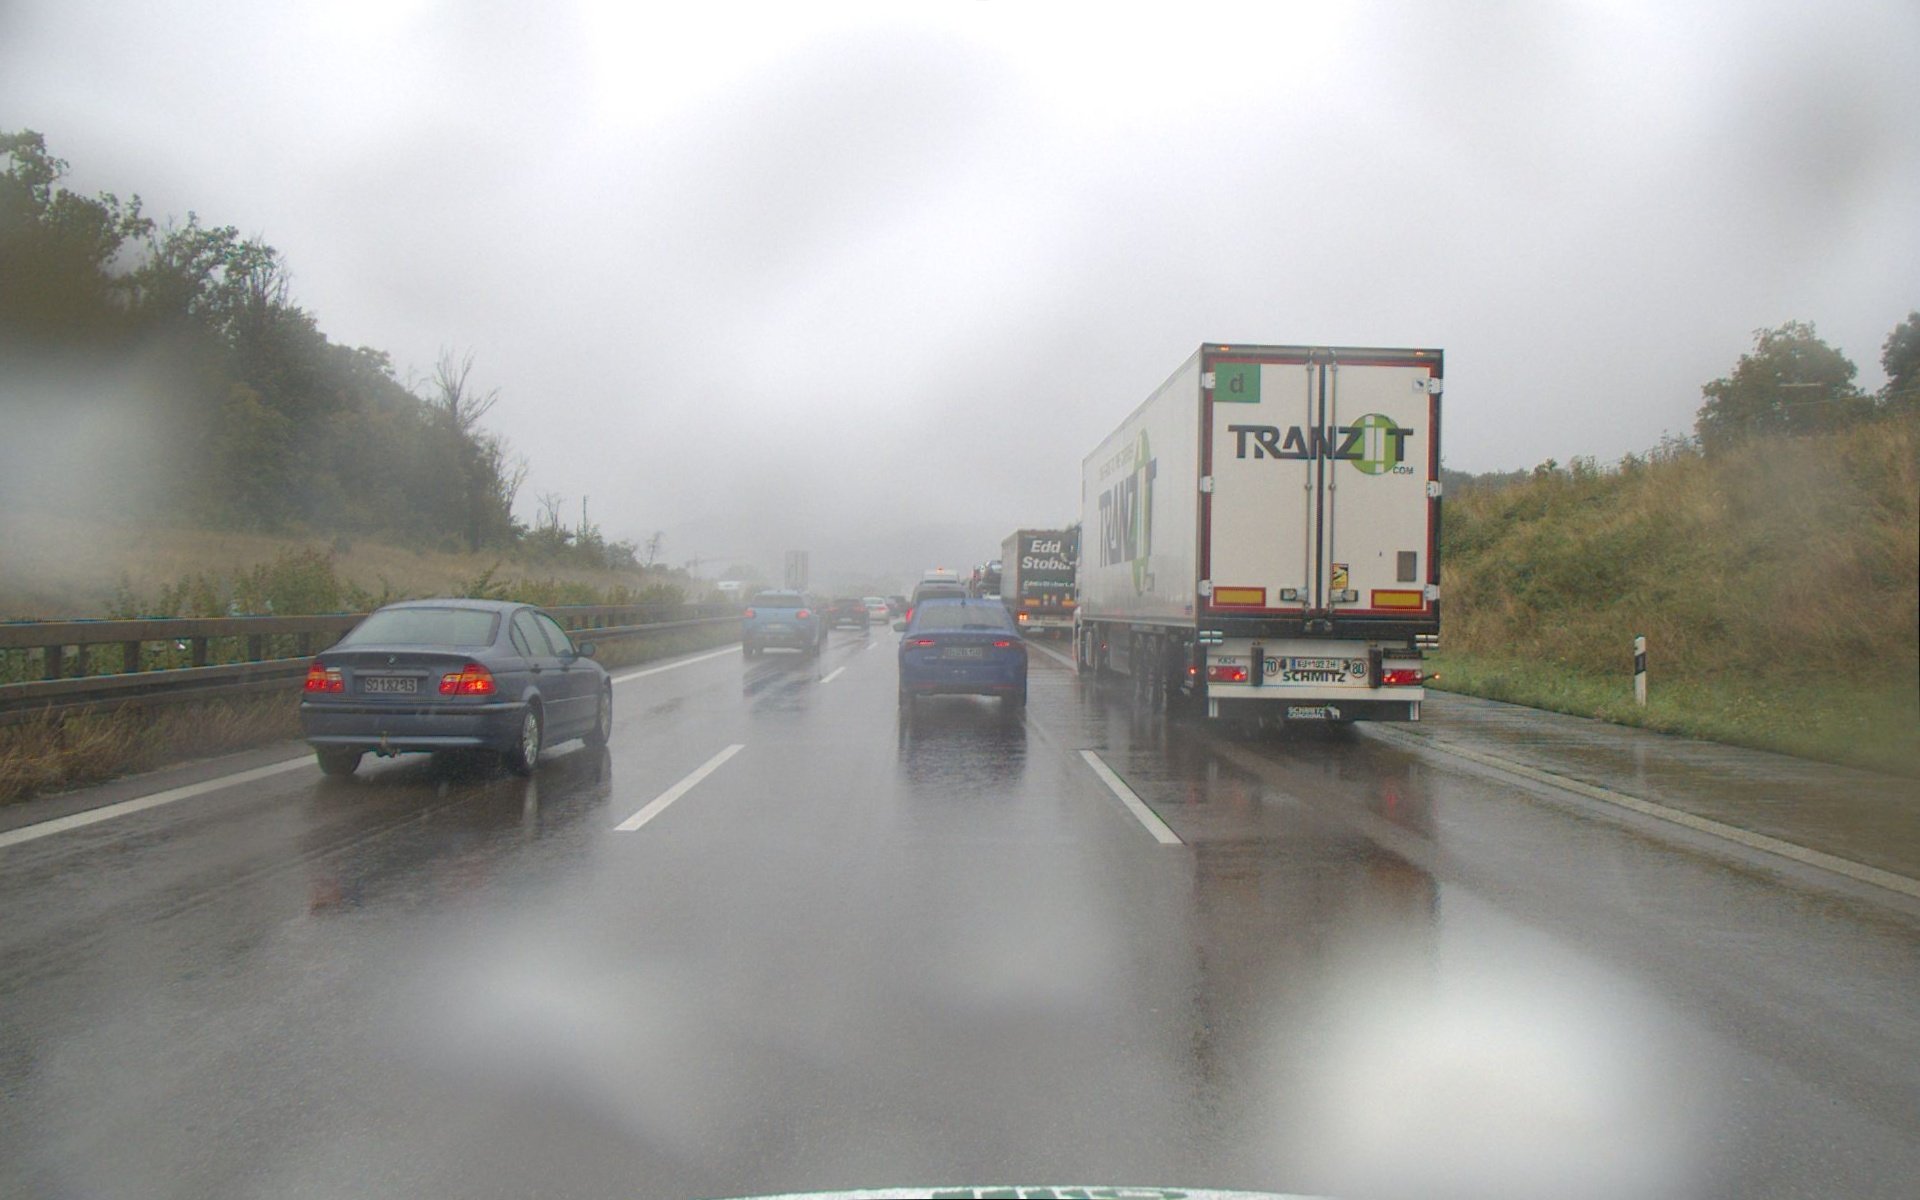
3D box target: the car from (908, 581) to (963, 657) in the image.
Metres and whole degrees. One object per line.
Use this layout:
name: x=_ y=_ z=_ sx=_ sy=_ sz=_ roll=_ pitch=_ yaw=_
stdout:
car: x=-0.621 y=0.448 z=41.342 sx=1.309 sy=1.811 sz=3.321 roll=0 pitch=0 yaw=-1

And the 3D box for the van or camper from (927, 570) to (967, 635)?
van or camper: x=-0.627 y=0.119 z=75.469 sx=1.761 sy=2.855 sz=4.767 roll=0 pitch=0 yaw=-1

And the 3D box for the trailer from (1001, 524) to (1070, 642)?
trailer: x=2.870 y=-0.640 z=65.660 sx=2.005 sy=4.250 sz=11.446 roll=0 pitch=0 yaw=-1

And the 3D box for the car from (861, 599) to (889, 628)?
car: x=-4.691 y=0.745 z=91.286 sx=1.410 sy=1.560 sz=3.321 roll=0 pitch=0 yaw=-1

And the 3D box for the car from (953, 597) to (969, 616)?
car: x=0.091 y=0.634 z=156.486 sx=1.419 sy=1.815 sz=3.408 roll=1 pitch=0 yaw=-1

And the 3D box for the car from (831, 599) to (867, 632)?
car: x=-4.926 y=0.683 z=73.777 sx=1.410 sy=1.445 sz=3.321 roll=0 pitch=0 yaw=-1

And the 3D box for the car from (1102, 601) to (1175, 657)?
car: x=4.441 y=0.705 z=41.439 sx=1.395 sy=1.310 sz=3.460 roll=0 pitch=0 yaw=-1

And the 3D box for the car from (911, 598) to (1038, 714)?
car: x=0.179 y=0.717 z=23.057 sx=1.602 sy=1.470 sz=4.000 roll=0 pitch=0 yaw=0

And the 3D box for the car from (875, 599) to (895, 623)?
car: x=-5.753 y=0.869 z=127.203 sx=1.419 sy=1.815 sz=3.408 roll=1 pitch=0 yaw=-1

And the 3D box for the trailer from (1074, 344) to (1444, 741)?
trailer: x=3.601 y=-0.618 z=24.406 sx=2.577 sy=4.083 sz=14.626 roll=0 pitch=0 yaw=-1

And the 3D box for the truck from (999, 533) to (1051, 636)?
truck: x=2.778 y=-0.658 z=71.344 sx=2.005 sy=4.266 sz=3.999 roll=0 pitch=0 yaw=-1

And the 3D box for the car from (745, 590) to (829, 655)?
car: x=-4.312 y=0.551 z=41.781 sx=1.686 sy=1.550 sz=4.000 roll=0 pitch=0 yaw=0

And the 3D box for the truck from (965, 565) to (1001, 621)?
truck: x=1.449 y=-0.482 z=107.778 sx=1.953 sy=3.481 sz=8.029 roll=0 pitch=1 yaw=-2

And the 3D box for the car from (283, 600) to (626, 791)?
car: x=-4.222 y=0.721 z=14.538 sx=1.683 sy=1.424 sz=4.230 roll=0 pitch=0 yaw=0

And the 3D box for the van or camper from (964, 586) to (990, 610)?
van or camper: x=1.196 y=-0.167 z=117.529 sx=1.736 sy=1.653 sz=4.483 roll=0 pitch=1 yaw=-1

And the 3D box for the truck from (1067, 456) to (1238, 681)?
truck: x=3.499 y=-0.560 z=31.120 sx=2.577 sy=3.894 sz=4.790 roll=0 pitch=0 yaw=-1
